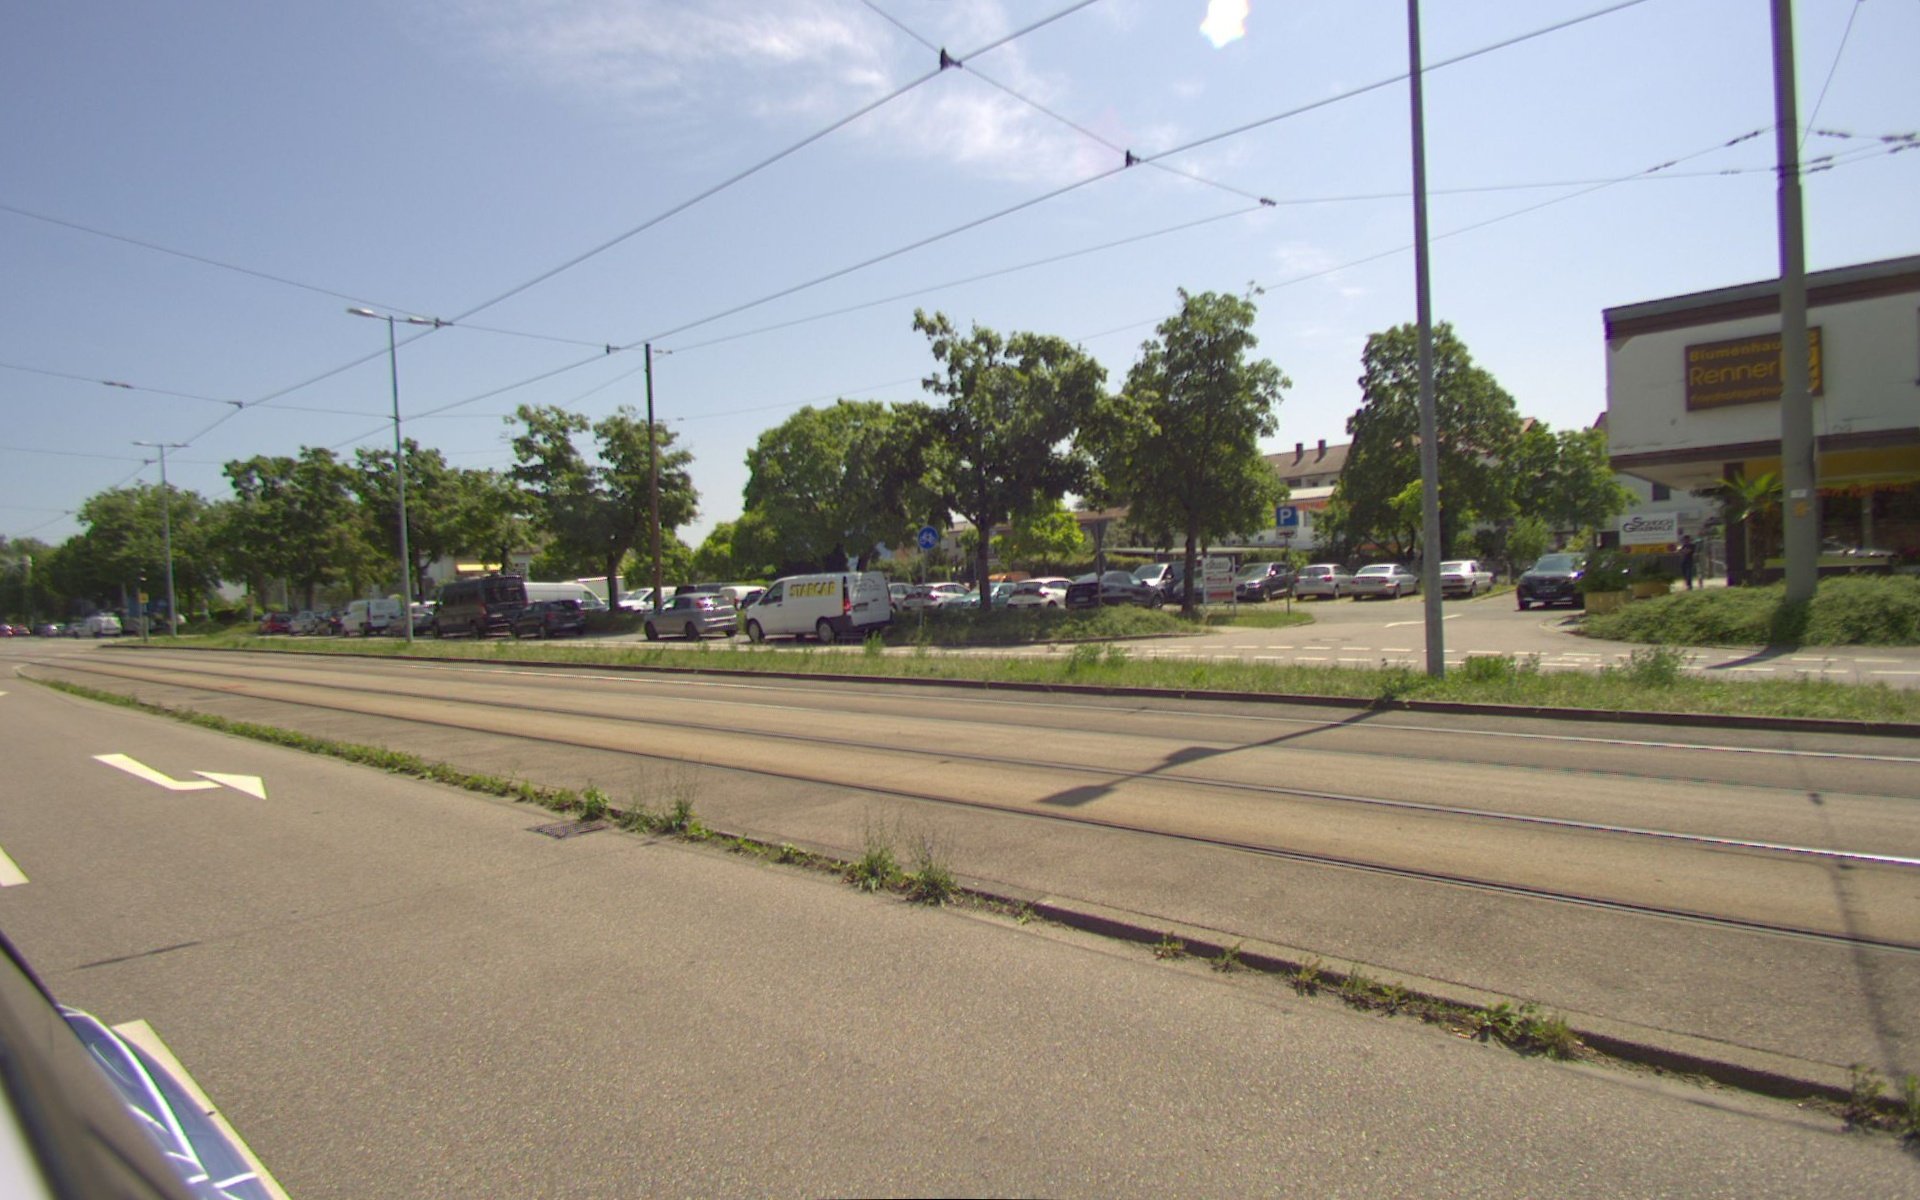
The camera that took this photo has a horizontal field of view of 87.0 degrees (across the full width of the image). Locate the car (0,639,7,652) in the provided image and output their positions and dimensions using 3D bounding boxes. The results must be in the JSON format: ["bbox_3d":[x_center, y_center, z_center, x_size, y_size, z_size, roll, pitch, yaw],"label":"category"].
[{"bbox_3d":[-115.866,5.439,121.535,3.424,1.491,1.796,-1,0,44],"label":"car"}]

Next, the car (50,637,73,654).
[{"bbox_3d":[-102.065,5.152,114.940,3.984,1.867,1.681,-1,0,44],"label":"car"}]

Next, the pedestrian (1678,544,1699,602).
[{"bbox_3d":[22.937,-0.855,31.873,0.471,1.812,0.482,-1,0,41],"label":"pedestrian"}]

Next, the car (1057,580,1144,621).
[{"bbox_3d":[4.886,0.001,34.911,1.639,1.241,3.385,-2,1,34],"label":"car"}]

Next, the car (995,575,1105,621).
[{"bbox_3d":[3.339,-0.098,37.057,1.983,1.501,4.119,-2,1,40],"label":"car"}]

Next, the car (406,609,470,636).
[{"bbox_3d":[-39.826,1.678,77.279,1.712,1.888,3.952,-1,0,35],"label":"car"}]

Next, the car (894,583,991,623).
[{"bbox_3d":[-0.645,0.101,40.298,1.856,1.501,4.098,-1,0,34],"label":"car"}]

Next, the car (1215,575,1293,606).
[{"bbox_3d":[12.811,-0.418,44.030,1.765,1.294,3.675,-1,0,43],"label":"car"}]

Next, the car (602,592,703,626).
[{"bbox_3d":[-16.544,0.480,54.664,1.998,1.588,4.866,-2,1,39],"label":"car"}]

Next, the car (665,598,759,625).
[{"bbox_3d":[-12.359,0.556,50.676,2.030,1.152,4.209,-2,1,38],"label":"car"}]

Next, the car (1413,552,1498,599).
[{"bbox_3d":[19.066,-0.926,38.838,1.804,1.669,3.943,-1,0,44],"label":"car"}]

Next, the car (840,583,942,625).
[{"bbox_3d":[-2.782,0.129,41.511,2.019,1.501,4.116,-2,1,34],"label":"car"}]

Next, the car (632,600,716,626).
[{"bbox_3d":[-14.740,0.646,52.309,1.732,1.152,3.950,-2,1,37],"label":"car"}]

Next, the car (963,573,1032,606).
[{"bbox_3d":[2.068,-0.594,54.764,1.689,1.665,4.081,-2,0,36],"label":"car"}]

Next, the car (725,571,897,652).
[{"bbox_3d":[-4.421,0.340,29.335,5.343,2.025,1.856,-2,4,43],"label":"car"}]

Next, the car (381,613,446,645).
[{"bbox_3d":[-26.894,1.413,49.760,3.608,1.475,1.744,-1,0,43],"label":"car"}]

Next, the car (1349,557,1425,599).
[{"bbox_3d":[17.276,-0.891,40.872,1.520,1.591,3.943,-1,0,44],"label":"car"}]

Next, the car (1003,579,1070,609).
[{"bbox_3d":[4.104,-0.320,53.621,1.713,1.505,3.952,-1,0,36],"label":"car"}]

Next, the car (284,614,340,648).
[{"bbox_3d":[-38.828,1.810,60.594,4.495,1.907,1.614,-1,0,42],"label":"car"}]

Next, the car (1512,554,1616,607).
[{"bbox_3d":[17.186,-0.564,28.733,1.682,1.306,3.944,-3,1,43],"label":"car"}]

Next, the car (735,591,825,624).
[{"bbox_3d":[-8.373,0.357,47.401,1.795,1.417,3.950,-2,0,37],"label":"car"}]

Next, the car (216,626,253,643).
[{"bbox_3d":[-52.444,2.490,73.171,3.424,1.167,1.560,-1,0,44],"label":"car"}]

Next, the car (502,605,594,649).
[{"bbox_3d":[-16.378,1.047,40.165,3.751,1.589,1.950,-1,0,42],"label":"car"}]

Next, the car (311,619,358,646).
[{"bbox_3d":[-35.448,1.819,57.326,3.262,1.489,1.410,-1,0,42],"label":"car"}]

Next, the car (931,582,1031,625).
[{"bbox_3d":[0.862,0.106,38.283,1.908,1.501,3.994,-1,0,34],"label":"car"}]

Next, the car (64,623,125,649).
[{"bbox_3d":[-70.513,2.912,82.468,4.178,2.005,1.812,-1,0,17],"label":"car"}]

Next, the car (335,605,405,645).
[{"bbox_3d":[-31.302,1.314,53.613,4.817,1.963,1.899,-1,0,43],"label":"car"}]

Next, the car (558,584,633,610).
[{"bbox_3d":[-30.791,-0.251,85.709,2.146,2.078,5.673,-1,0,39],"label":"car"}]

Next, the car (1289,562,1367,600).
[{"bbox_3d":[15.694,-0.802,43.012,1.661,1.531,3.943,-1,0,44],"label":"car"}]

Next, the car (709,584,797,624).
[{"bbox_3d":[-10.080,0.180,49.498,1.795,1.730,3.950,-2,1,37],"label":"car"}]

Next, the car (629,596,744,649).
[{"bbox_3d":[-9.108,0.730,33.565,4.125,1.513,1.633,-2,4,43],"label":"car"}]

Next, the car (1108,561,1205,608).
[{"bbox_3d":[9.349,-0.743,47.875,2.225,2.085,5.054,-1,0,41],"label":"car"}]

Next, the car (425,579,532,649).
[{"bbox_3d":[-21.080,0.600,44.210,5.667,2.859,2.214,-1,0,43],"label":"car"}]

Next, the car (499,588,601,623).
[{"bbox_3d":[-24.875,0.322,61.577,2.029,1.970,5.362,-1,0,43],"label":"car"}]

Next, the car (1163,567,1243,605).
[{"bbox_3d":[11.110,-0.649,46.204,1.804,1.669,3.943,-1,0,44],"label":"car"}]

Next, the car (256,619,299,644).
[{"bbox_3d":[-43.742,2.019,64.831,3.424,1.491,1.560,-1,0,44],"label":"car"}]
